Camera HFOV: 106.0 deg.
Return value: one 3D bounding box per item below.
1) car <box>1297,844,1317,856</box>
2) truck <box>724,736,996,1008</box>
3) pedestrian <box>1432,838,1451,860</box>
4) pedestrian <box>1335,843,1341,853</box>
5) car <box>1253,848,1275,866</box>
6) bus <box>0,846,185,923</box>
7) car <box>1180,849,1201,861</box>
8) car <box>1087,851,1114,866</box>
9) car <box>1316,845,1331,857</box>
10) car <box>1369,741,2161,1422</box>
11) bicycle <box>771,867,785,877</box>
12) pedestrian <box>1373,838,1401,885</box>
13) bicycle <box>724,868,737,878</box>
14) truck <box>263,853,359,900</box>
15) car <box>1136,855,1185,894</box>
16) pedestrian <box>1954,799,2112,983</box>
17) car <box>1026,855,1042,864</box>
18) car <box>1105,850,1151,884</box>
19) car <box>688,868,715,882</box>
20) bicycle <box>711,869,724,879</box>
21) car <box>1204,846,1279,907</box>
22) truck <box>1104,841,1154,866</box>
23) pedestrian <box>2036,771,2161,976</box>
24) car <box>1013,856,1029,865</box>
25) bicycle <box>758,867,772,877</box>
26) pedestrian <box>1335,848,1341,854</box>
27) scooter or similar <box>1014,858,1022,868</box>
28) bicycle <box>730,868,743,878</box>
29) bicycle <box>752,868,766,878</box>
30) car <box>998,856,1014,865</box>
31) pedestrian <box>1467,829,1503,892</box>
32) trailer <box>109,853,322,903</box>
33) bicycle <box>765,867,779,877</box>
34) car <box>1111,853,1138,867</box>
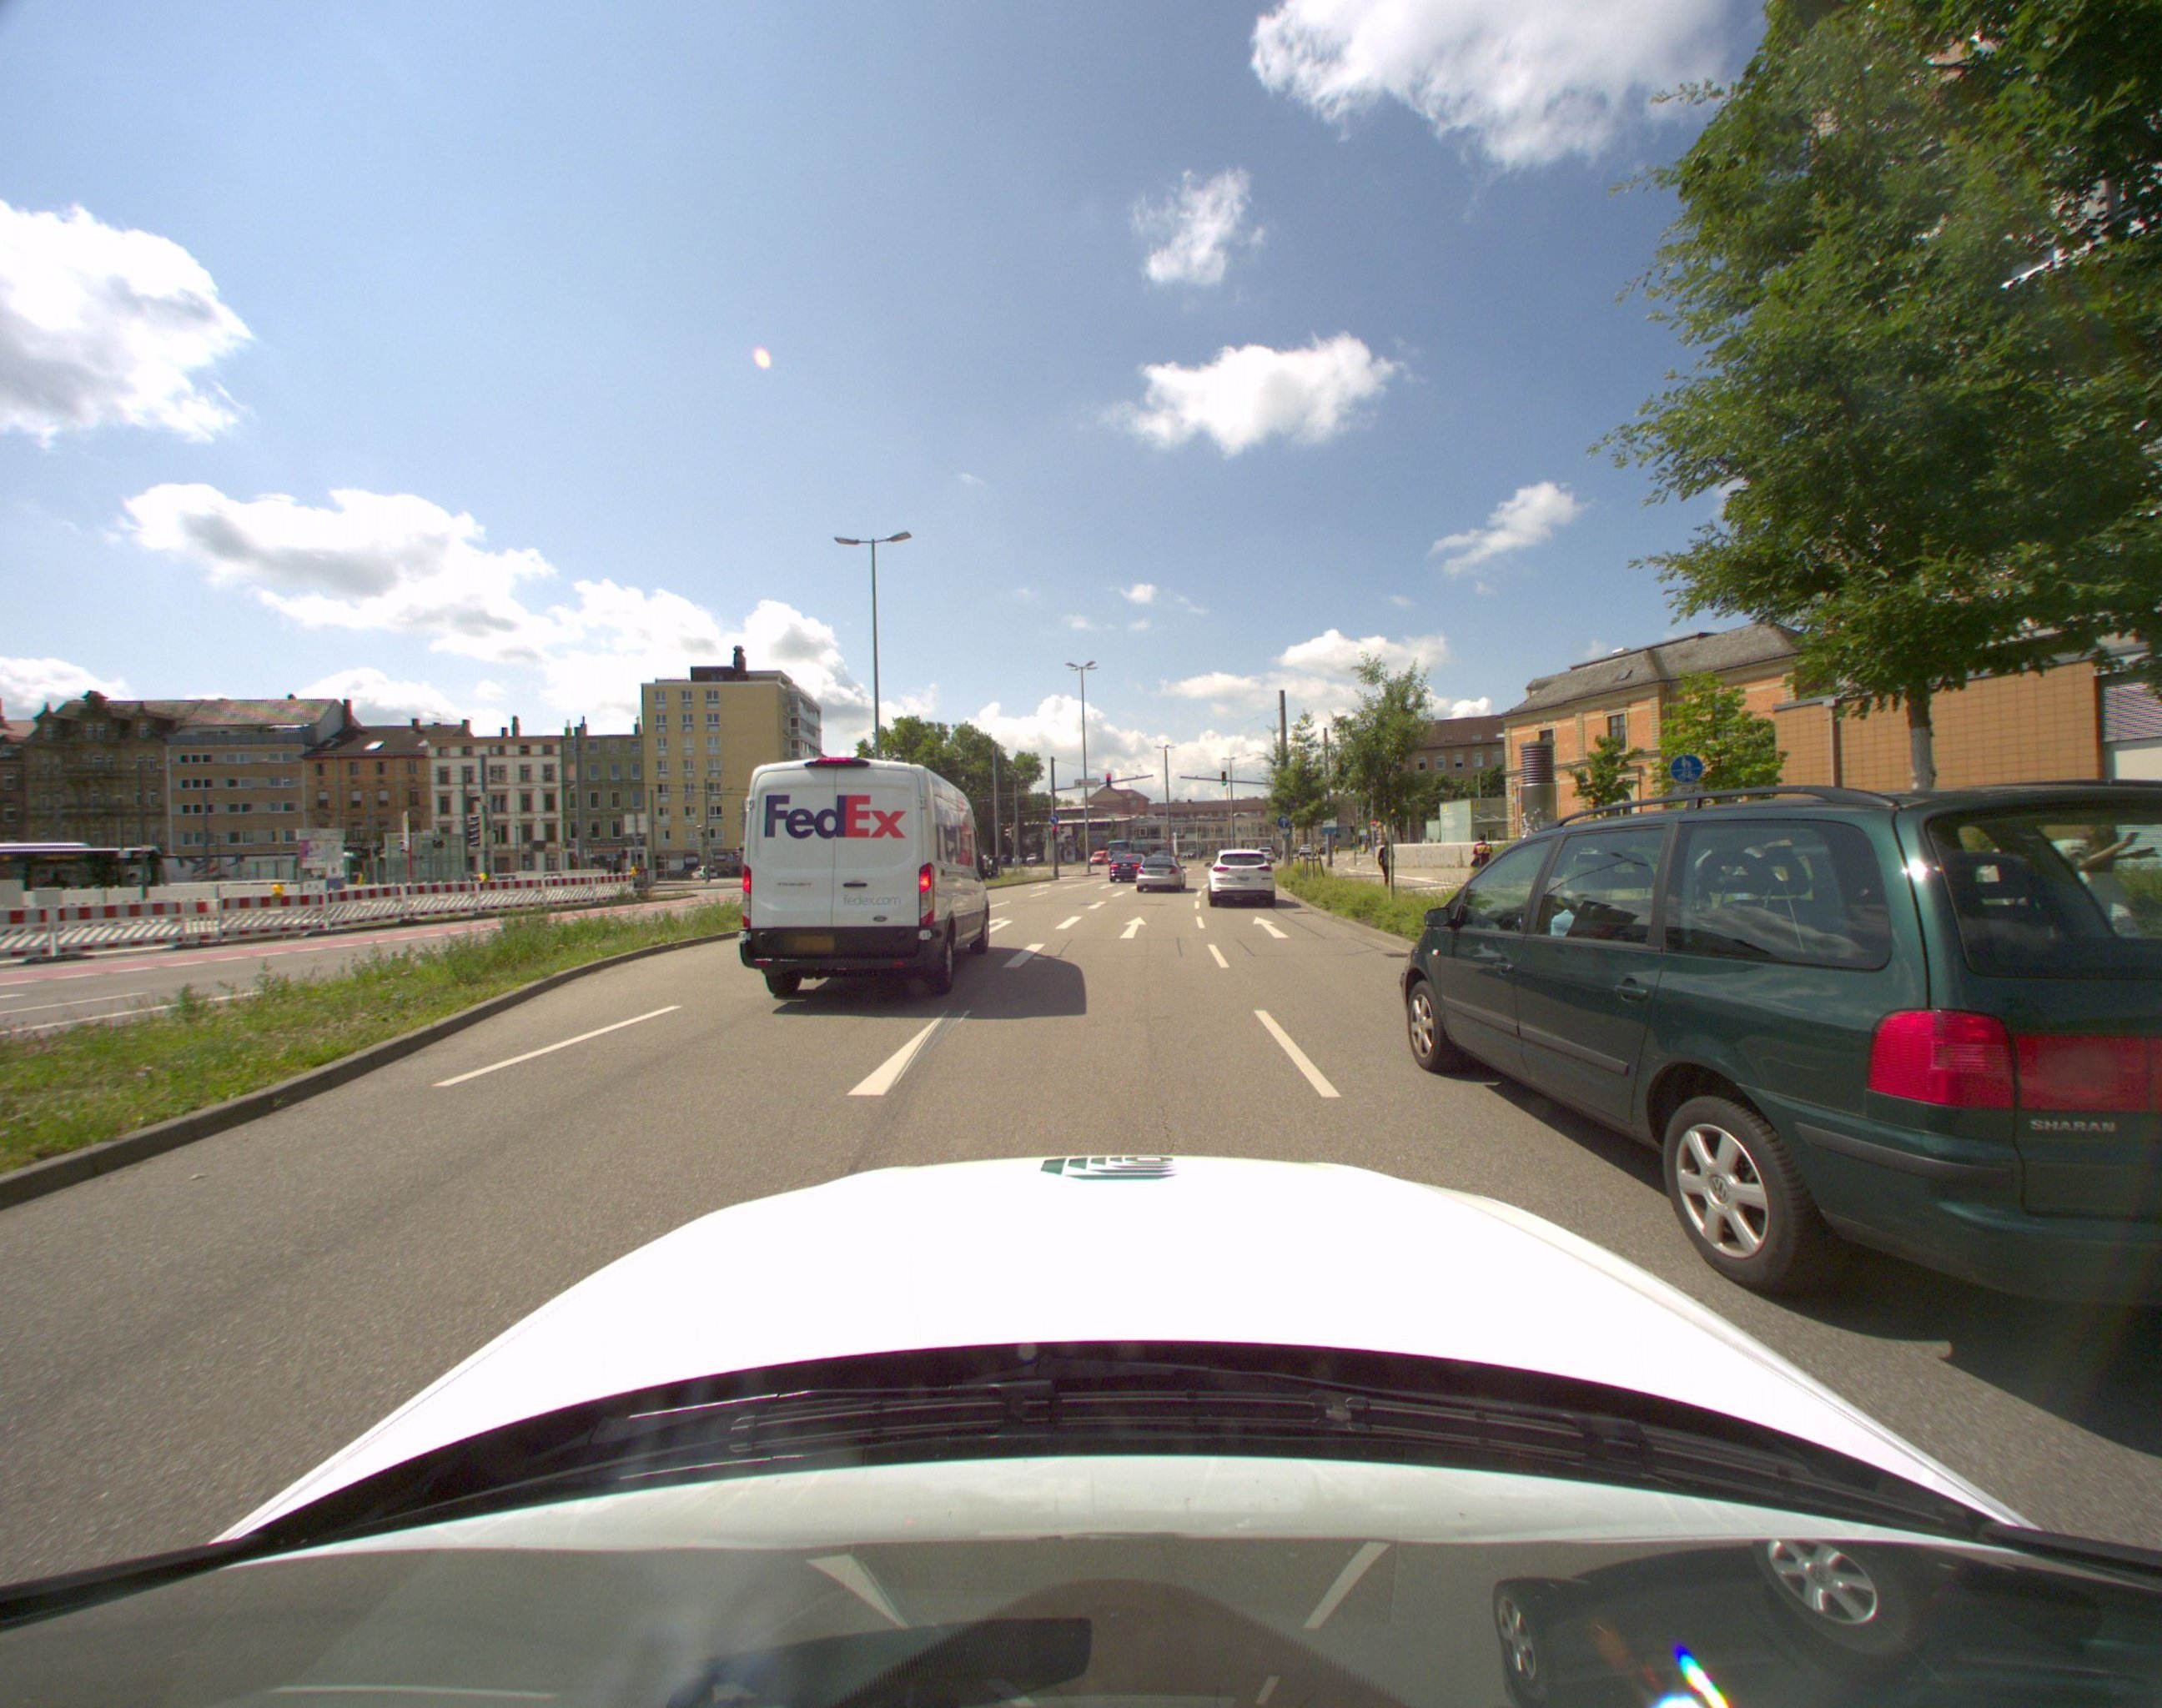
[{"bbox_3d":[31.727,-0.606,114.216,1.864,1.641,3.980,-2,0,26],"label":"car"},{"bbox_3d":[-2.468,0.198,10.941,2.131,2.640,5.913,-1,-1,-1],"label":"truck"},{"bbox_3d":[29.206,-0.406,65.926,0.968,1.657,0.857,-3,-2,-23],"label":"pedestrian"},{"bbox_3d":[37.767,-0.839,119.805,0.686,1.457,0.684,-1,-1,26],"label":"pedestrian"},{"bbox_3d":[17.529,0.282,77.851,1.867,1.641,3.972,-2,0,14],"label":"car"},{"bbox_3d":[-42.112,1.130,29.802,2.561,2.860,12.344,-2,-1,38],"label":"bus"},{"bbox_3d":[15.952,0.153,118.634,1.702,1.531,4.145,-2,0,26],"label":"car"},{"bbox_3d":[2.545,0.593,103.775,1.702,1.800,4.767,-3,0,24],"label":"car"},{"bbox_3d":[37.521,-0.465,126.147,1.865,1.641,3.978,-2,0,22],"label":"car"},{"bbox_3d":[3.135,0.588,4.287,1.787,1.723,4.449,0,0,2],"label":"car"},{"bbox_3d":[-35.594,2.132,95.597,2.107,1.147,0.515,-2,-2,38],"label":"bicycle"},{"bbox_3d":[10.377,0.255,27.621,0.751,1.590,0.763,-1,-1,10],"label":"pedestrian"},{"bbox_3d":[-40.617,2.240,94.363,2.107,1.147,0.515,-2,-2,41],"label":"bicycle"},{"bbox_3d":[-66.668,1.930,70.626,5.426,3.969,2.702,-1,-1,-7],"label":"truck"},{"bbox_3d":[3.283,0.781,32.931,1.731,1.391,4.190,-1,0,9],"label":"car"},{"bbox_3d":[8.854,0.333,7.604,0.586,1.626,0.726,-1,-1,-5],"label":"pedestrian"},{"bbox_3d":[-8.497,0.951,146.840,1.982,1.574,4.187,-1,-1,8],"label":"car"},{"bbox_3d":[2.562,0.630,43.120,1.917,1.641,4.805,-2,0,9],"label":"car"},{"bbox_3d":[-40.257,2.223,86.355,1.668,1.321,3.315,-2,0,-44],"label":"car"},{"bbox_3d":[-42.026,2.331,94.230,2.107,1.147,0.515,-2,-2,41],"label":"bicycle"},{"bbox_3d":[4.780,0.627,24.707,1.871,1.641,4.241,-2,0,7],"label":"car"},{"bbox_3d":[5.962,-0.115,99.448,2.859,2.852,8.844,-2,0,25],"label":"truck"},{"bbox_3d":[9.658,0.172,7.581,0.755,1.821,0.637,-1,-1,-6],"label":"pedestrian"},{"bbox_3d":[-10.913,1.200,147.471,1.982,1.574,4.187,-1,-1,8],"label":"car"},{"bbox_3d":[-36.835,2.135,94.951,2.107,1.147,0.515,-2,-2,38],"label":"bicycle"},{"bbox_3d":[37.777,-0.442,119.773,0.520,0.906,1.570,-1,-1,25],"label":"pedestrian"},{"bbox_3d":[-7.482,1.060,97.082,0.374,1.115,1.102,-1,-1,30],"label":"scooter or similar"},{"bbox_3d":[-40.059,2.231,94.617,2.107,1.147,0.515,-2,-2,41],"label":"bicycle"},{"bbox_3d":[-37.424,2.175,94.641,2.107,1.147,0.515,-2,-2,38],"label":"bicycle"},{"bbox_3d":[-13.537,1.238,147.847,1.982,1.574,4.187,-1,-1,8],"label":"car"},{"bbox_3d":[11.812,0.201,23.824,0.751,1.821,0.675,-1,-1,7],"label":"pedestrian"},{"bbox_3d":[-73.883,2.000,69.772,13.982,3.969,2.702,-1,-1,-7],"label":"trailer"},{"bbox_3d":[-36.145,2.132,95.237,2.107,1.147,0.537,-2,-2,38],"label":"bicycle"},{"bbox_3d":[4.742,0.629,88.082,1.639,1.469,4.175,-2,0,21],"label":"car"}]
